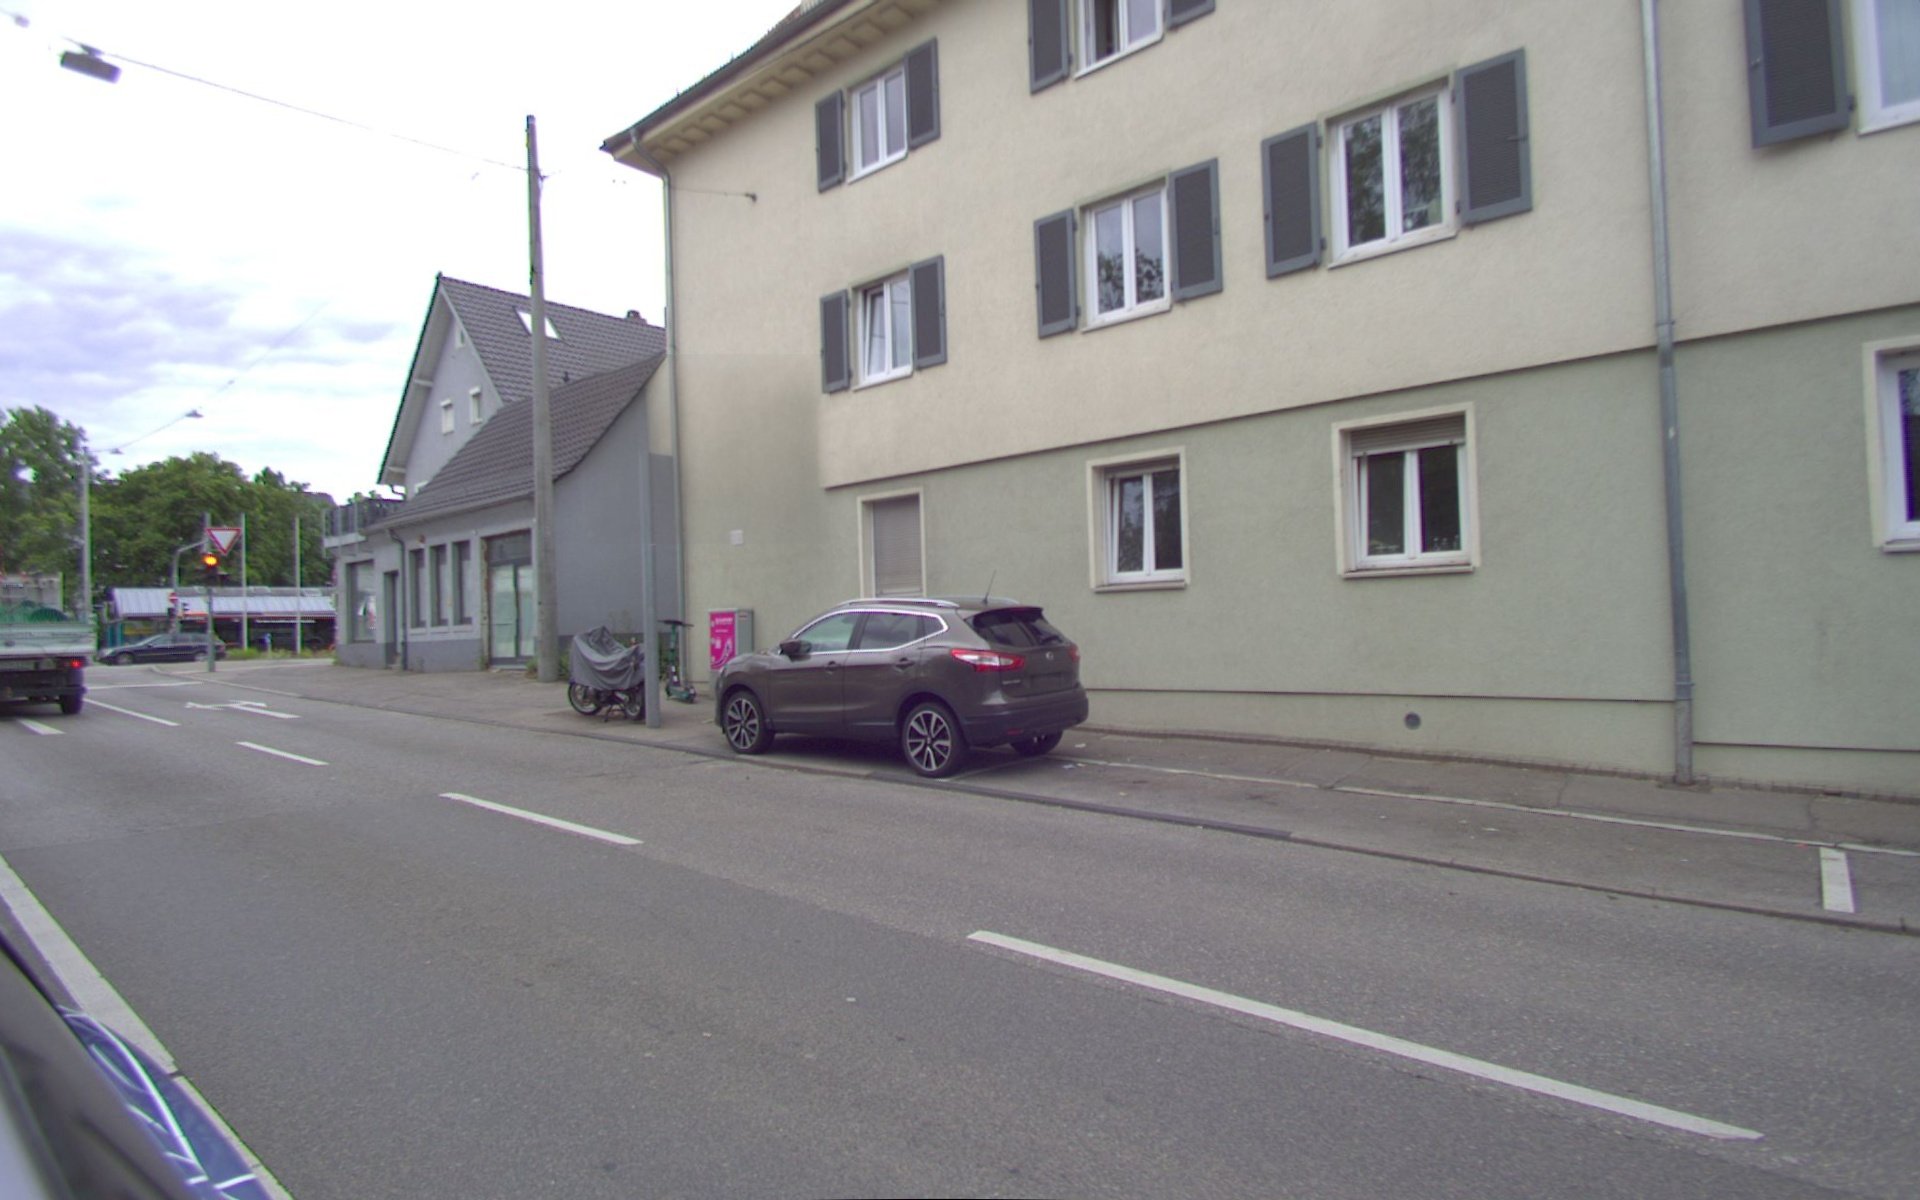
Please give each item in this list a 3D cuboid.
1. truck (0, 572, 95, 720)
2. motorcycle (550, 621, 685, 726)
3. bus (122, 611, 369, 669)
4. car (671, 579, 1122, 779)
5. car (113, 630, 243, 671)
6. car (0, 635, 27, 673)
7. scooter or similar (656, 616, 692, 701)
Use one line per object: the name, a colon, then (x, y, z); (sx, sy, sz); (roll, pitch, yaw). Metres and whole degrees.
truck: (-16.762, 0.755, 17.273); (6.586, 2.218, 2.099); (-2, 0, 41)
motorcycle: (-4.708, 0.961, 13.809); (2.228, 1.300, 0.619); (-2, 1, 39)
bus: (-41.498, 2.221, 59.358); (2.000, 3.086, 11.687); (-5, -3, 43)
car: (-0.834, 0.684, 10.524); (4.691, 1.645, 1.804); (-2, 0, 39)
car: (-34.482, 2.184, 44.717); (1.997, 1.652, 4.230); (-1, -1, 38)
car: (-40.811, 2.242, 41.162); (1.625, 1.508, 3.953); (-1, -1, 35)
scooter or similar: (-4.543, 0.910, 16.063); (0.351, 1.274, 0.989); (-2, 1, -25)
